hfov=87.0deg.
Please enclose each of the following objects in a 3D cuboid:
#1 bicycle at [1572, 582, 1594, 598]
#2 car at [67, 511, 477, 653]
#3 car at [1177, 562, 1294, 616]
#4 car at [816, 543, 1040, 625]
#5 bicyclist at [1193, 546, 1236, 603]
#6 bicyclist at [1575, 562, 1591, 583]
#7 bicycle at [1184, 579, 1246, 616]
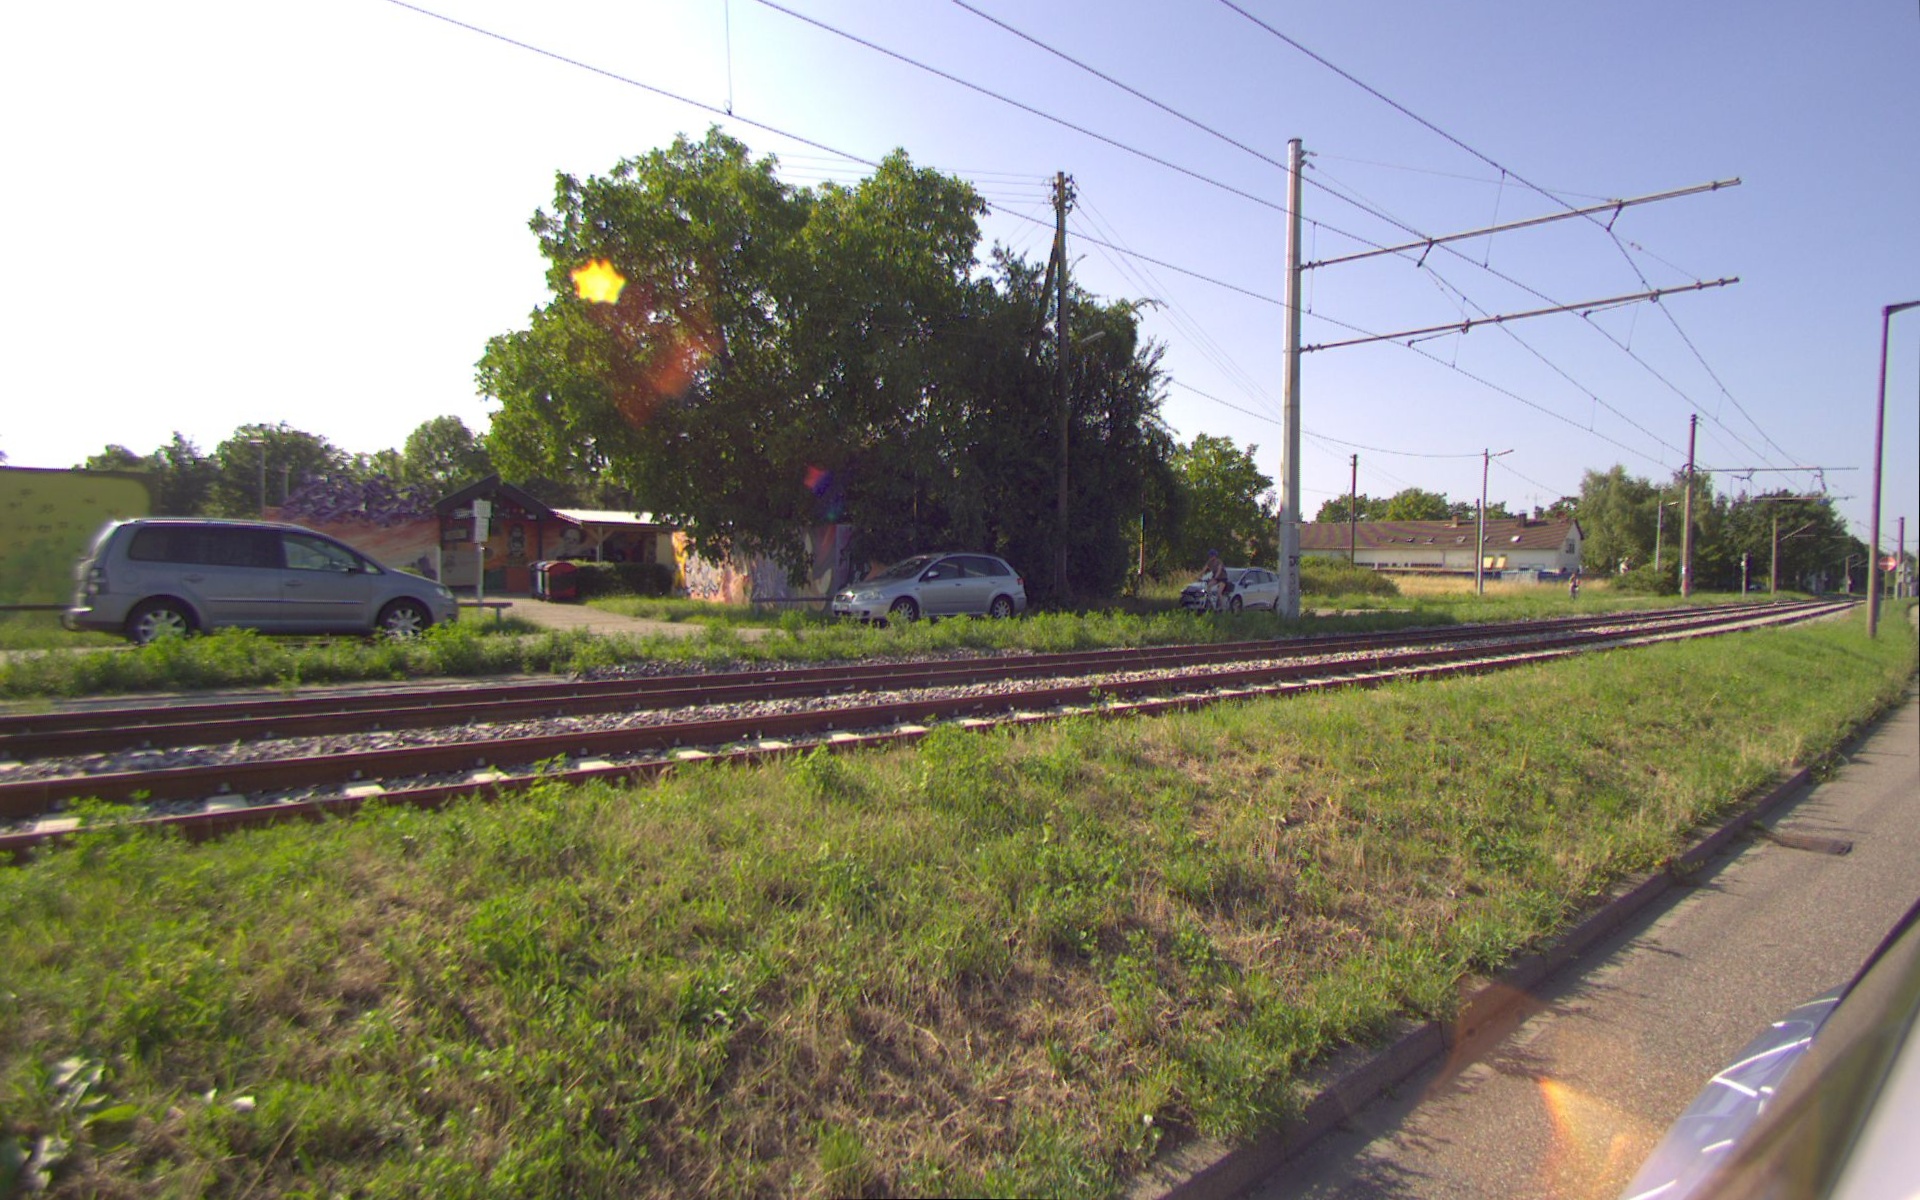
[{"bbox_3d":[36.956,-0.592,60.015,1.783,0.921,0.643,0,1,-43],"label":"bicycle"},{"bbox_3d":[-9.097,-0.244,13.665,4.409,1.630,1.524,0,2,-43],"label":"car"},{"bbox_3d":[8.219,-0.343,30.009,1.535,1.466,4.064,3,2,45],"label":"car"},{"bbox_3d":[-0.631,-0.351,22.042,4.641,1.610,1.912,0,2,-39],"label":"car"},{"bbox_3d":[6.489,-0.643,25.777,0.946,1.440,0.630,0,1,-42],"label":"bicyclist"},{"bbox_3d":[36.938,-1.642,59.998,0.778,1.248,0.640,0,0,-43],"label":"bicyclist"},{"bbox_3d":[6.520,-0.080,25.808,1.812,0.921,0.643,0,1,-43],"label":"bicycle"}]
